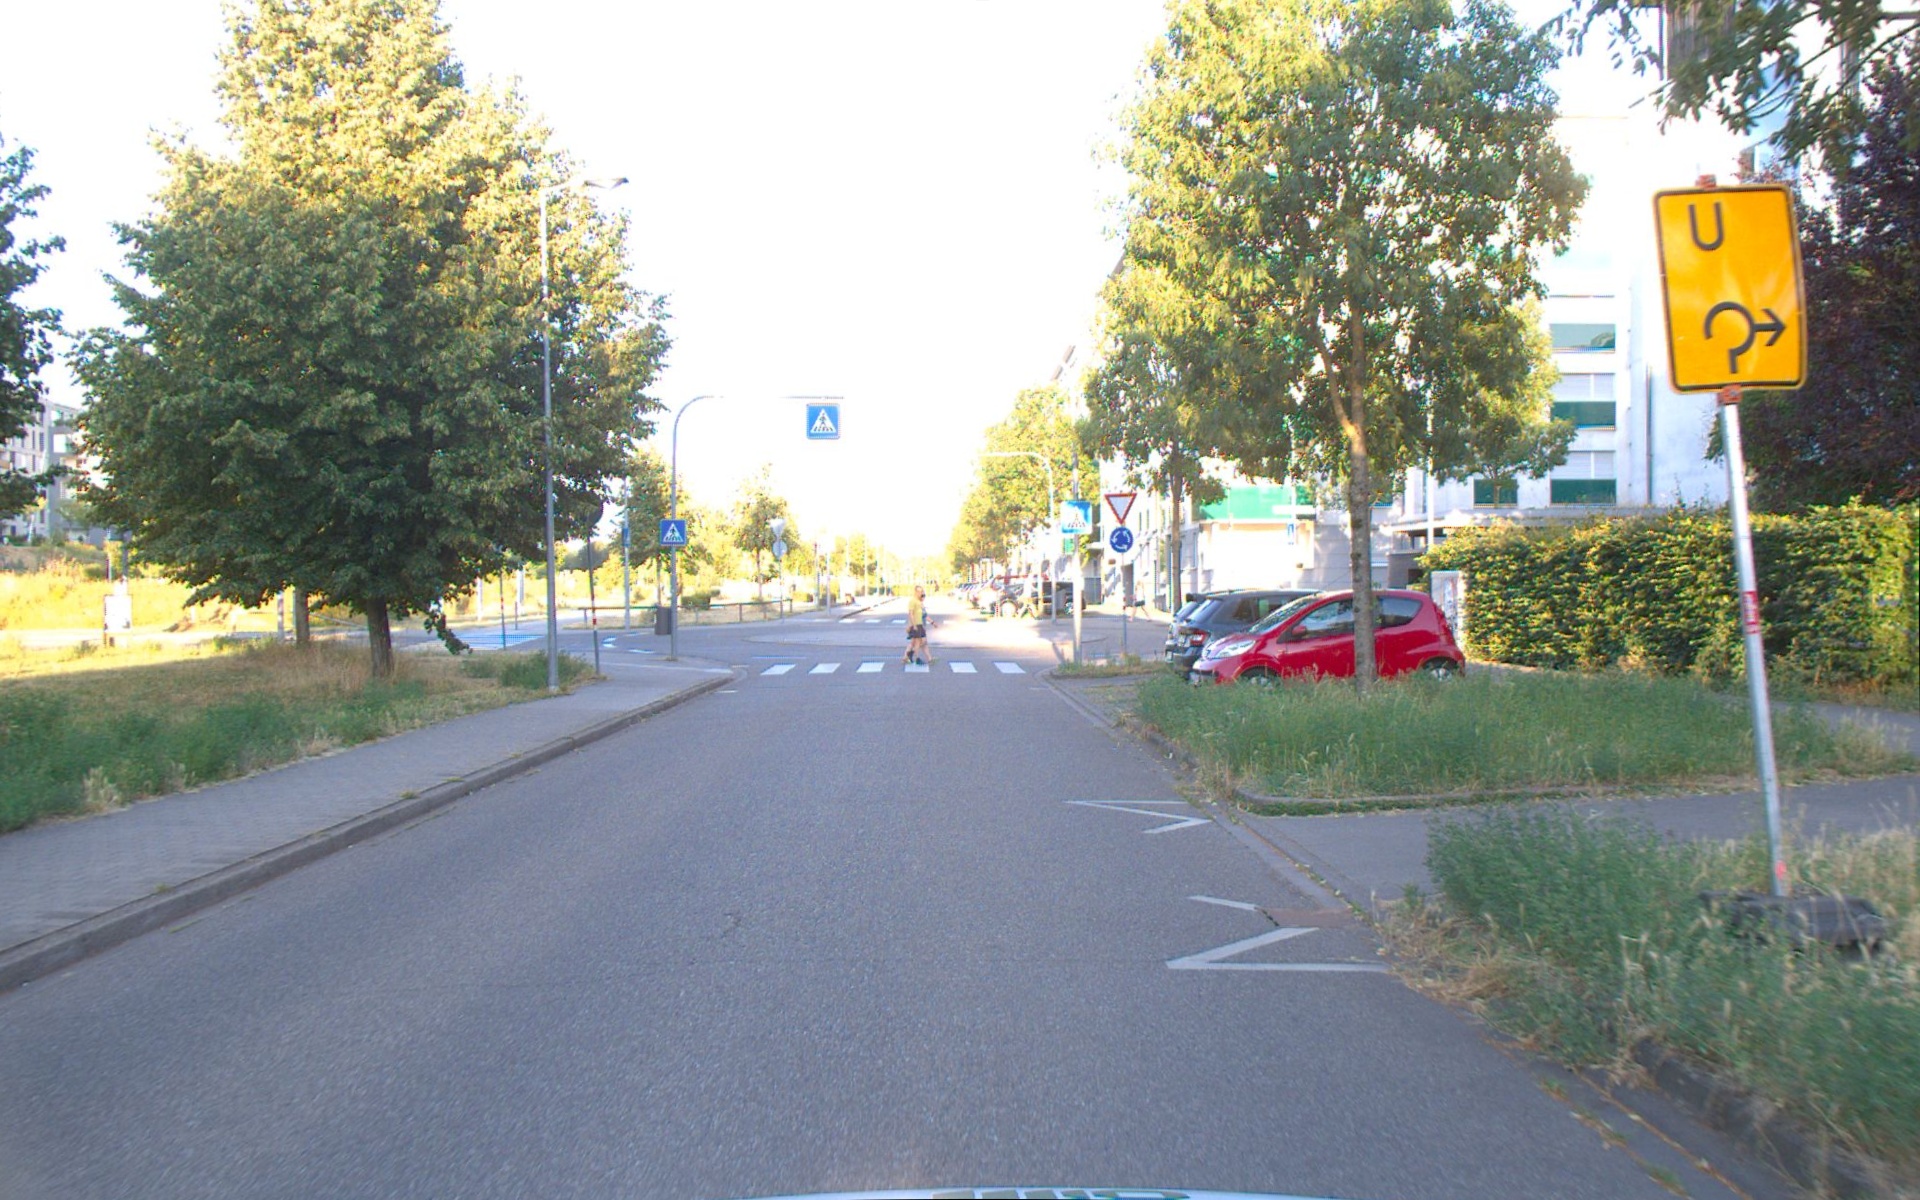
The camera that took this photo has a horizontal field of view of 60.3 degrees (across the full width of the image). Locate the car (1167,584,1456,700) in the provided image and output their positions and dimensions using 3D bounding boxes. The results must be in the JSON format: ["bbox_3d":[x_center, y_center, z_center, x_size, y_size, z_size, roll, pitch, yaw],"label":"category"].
[{"bbox_3d":[4.971,0.569,23.680,3.727,1.535,1.678,-1,0,-3],"label":"car"}]

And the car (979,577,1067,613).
[{"bbox_3d":[2.994,-0.242,79.327,4.176,1.624,2.000,-1,0,0],"label":"car"}]

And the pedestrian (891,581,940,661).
[{"bbox_3d":[-0.989,0.455,36.644,0.966,1.723,0.698,-1,0,-13],"label":"pedestrian"}]

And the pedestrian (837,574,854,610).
[{"bbox_3d":[-6.589,-0.473,95.431,0.851,2.049,0.787,-1,0,-12],"label":"pedestrian"}]

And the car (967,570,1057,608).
[{"bbox_3d":[2.971,-0.631,94.617,4.906,2.081,2.248,-1,0,-6],"label":"car"}]

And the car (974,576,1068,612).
[{"bbox_3d":[2.800,-0.284,76.597,4.266,1.624,2.000,-1,0,0],"label":"car"}]

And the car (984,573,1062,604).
[{"bbox_3d":[3.490,-0.659,91.576,4.177,1.624,1.999,-1,0,-2],"label":"car"}]

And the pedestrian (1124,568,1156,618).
[{"bbox_3d":[6.601,-0.271,60.670,0.984,1.819,0.761,1,0,-8],"label":"pedestrian"}]

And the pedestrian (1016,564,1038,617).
[{"bbox_3d":[2.622,-0.374,64.600,0.828,2.049,0.944,-1,0,4],"label":"pedestrian"}]

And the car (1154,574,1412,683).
[{"bbox_3d":[5.101,0.420,26.376,3.727,1.534,1.678,-2,2,-4],"label":"car"}]

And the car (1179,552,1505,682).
[{"bbox_3d":[4.801,0.200,21.070,3.727,1.535,1.678,-1,0,-3],"label":"car"}]

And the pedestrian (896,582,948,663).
[{"bbox_3d":[-0.831,0.475,35.924,1.001,1.723,0.757,-1,0,-12],"label":"pedestrian"}]

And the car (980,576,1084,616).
[{"bbox_3d":[3.059,-0.187,71.401,4.393,1.624,2.000,-1,0,0],"label":"car"}]
